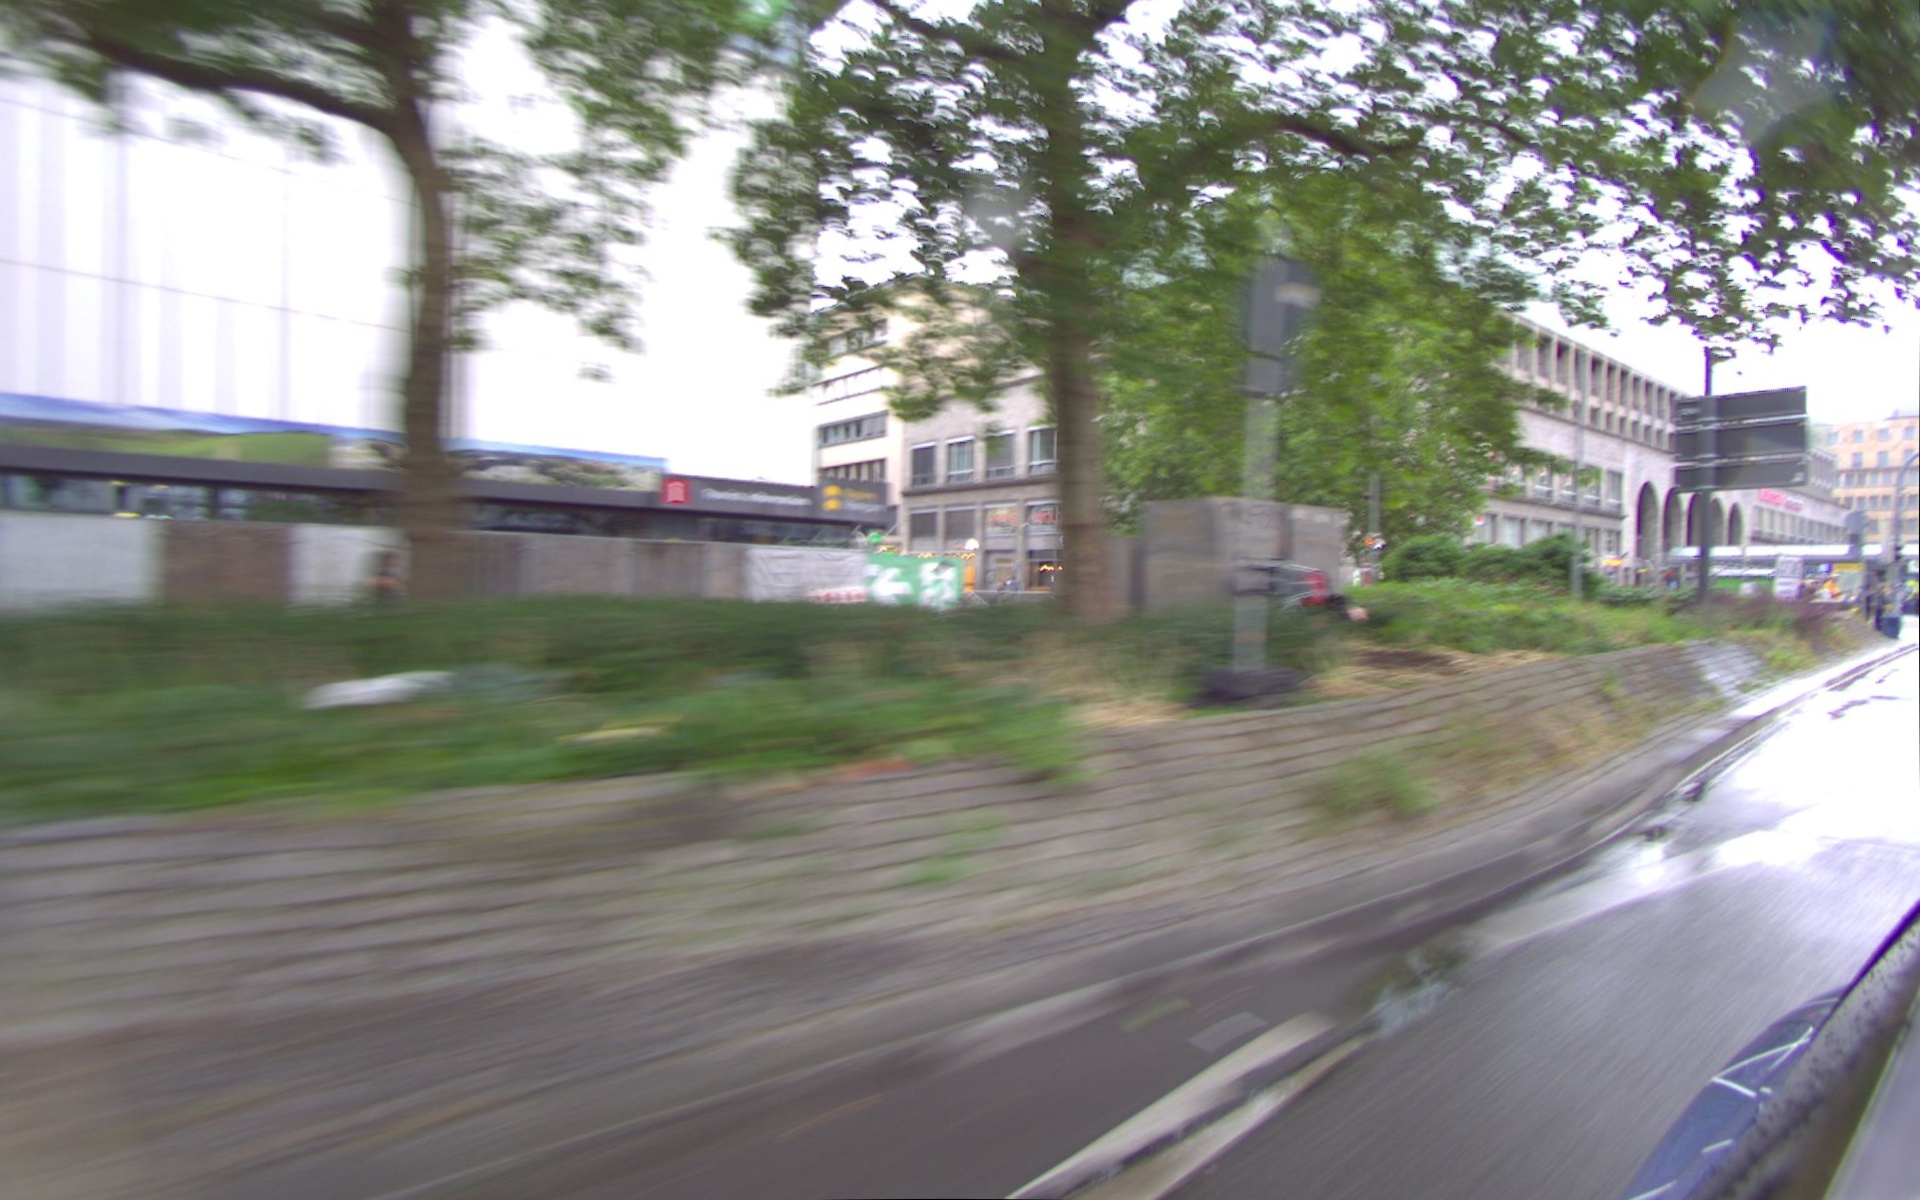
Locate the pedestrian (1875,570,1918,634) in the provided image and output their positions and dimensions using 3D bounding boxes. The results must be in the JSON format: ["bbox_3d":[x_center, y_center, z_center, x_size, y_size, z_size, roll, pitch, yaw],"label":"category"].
[{"bbox_3d":[27.824,0.058,30.078,0.784,1.862,0.938,1,1,35],"label":"pedestrian"}]

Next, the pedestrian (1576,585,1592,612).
[{"bbox_3d":[40.042,-0.101,64.941,0.762,1.718,0.722,0,0,-41],"label":"pedestrian"}]

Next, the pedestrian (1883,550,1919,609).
[{"bbox_3d":[29.473,-0.646,31.676,0.743,1.827,0.701,1,1,35],"label":"pedestrian"}]

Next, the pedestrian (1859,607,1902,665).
[{"bbox_3d":[28.308,1.092,31.133,0.745,1.712,0.877,1,0,-41],"label":"pedestrian"}]

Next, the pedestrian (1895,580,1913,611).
[{"bbox_3d":[60.950,-0.297,65.331,0.792,1.953,0.695,1,1,39],"label":"pedestrian"}]

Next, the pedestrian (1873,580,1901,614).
[{"bbox_3d":[45.703,-0.153,49.898,0.773,1.662,0.789,1,1,-26],"label":"pedestrian"}]

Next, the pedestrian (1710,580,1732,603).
[{"bbox_3d":[54.062,-0.617,71.912,0.973,1.609,0.789,1,0,-3],"label":"pedestrian"}]

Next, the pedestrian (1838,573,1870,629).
[{"bbox_3d":[29.641,0.033,33.565,0.534,1.827,0.752,1,0,22],"label":"pedestrian"}]

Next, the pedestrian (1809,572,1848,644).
[{"bbox_3d":[26.711,0.239,31.138,0.707,2.172,0.711,0,1,-31],"label":"pedestrian"}]

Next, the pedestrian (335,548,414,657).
[{"bbox_3d":[-8.267,0.023,14.290,0.907,1.487,0.551,1,1,-35],"label":"pedestrian"}]

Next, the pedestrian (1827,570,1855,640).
[{"bbox_3d":[27.450,0.150,31.533,0.552,2.173,0.660,1,0,35],"label":"pedestrian"}]

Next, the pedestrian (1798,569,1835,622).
[{"bbox_3d":[26.052,-0.141,30.778,0.621,1.574,0.659,0,0,-27],"label":"pedestrian"}]

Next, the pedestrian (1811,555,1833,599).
[{"bbox_3d":[38.680,-1.022,45.424,0.705,1.957,0.777,1,1,40],"label":"pedestrian"}]

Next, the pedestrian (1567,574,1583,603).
[{"bbox_3d":[41.126,-0.772,67.696,0.781,1.953,0.649,1,0,25],"label":"pedestrian"}]
